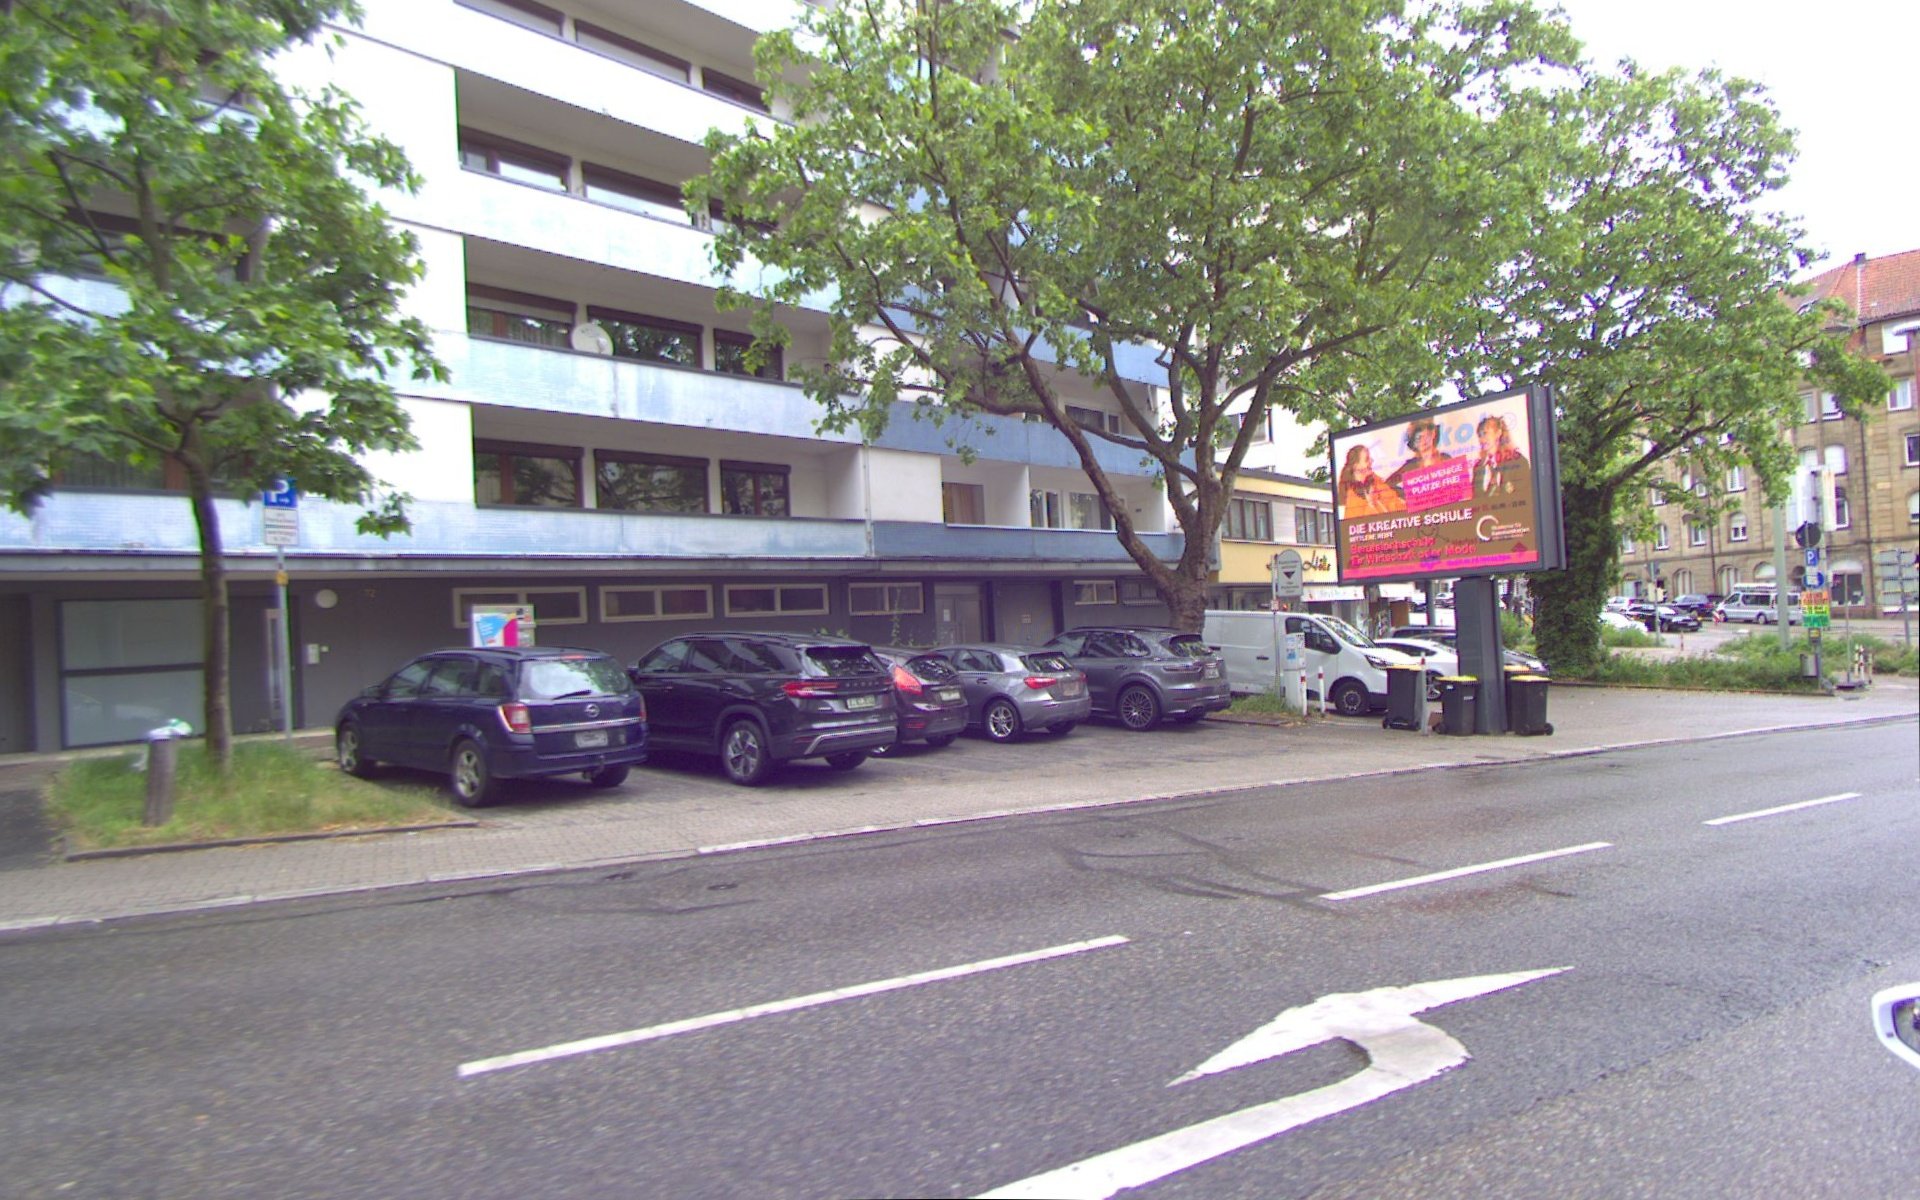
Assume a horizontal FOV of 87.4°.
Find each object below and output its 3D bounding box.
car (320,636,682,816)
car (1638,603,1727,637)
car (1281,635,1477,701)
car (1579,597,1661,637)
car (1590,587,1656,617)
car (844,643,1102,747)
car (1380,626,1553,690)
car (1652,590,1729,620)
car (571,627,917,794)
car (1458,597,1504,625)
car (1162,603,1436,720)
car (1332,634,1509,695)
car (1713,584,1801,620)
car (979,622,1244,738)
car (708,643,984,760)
[{"bbox_3d":[-5.204,1.212,11.166,4.303,1.595,1.935,-1,-2,39],"label":"car"},{"bbox_3d":[39.941,1.080,55.676,1.960,1.749,4.250,-1,0,2],"label":"car"},{"bbox_3d":[10.222,1.608,24.663,4.122,1.475,1.786,-1,-2,40],"label":"car"},{"bbox_3d":[35.556,0.949,54.229,1.841,2.040,4.002,0,-2,2],"label":"car"},{"bbox_3d":[48.619,0.089,73.770,1.961,2.130,4.291,-1,1,-1],"label":"car"},{"bbox_3d":[0.159,1.431,16.160,3.870,1.449,1.742,-1,-2,36],"label":"car"},{"bbox_3d":[14.131,1.572,28.123,4.072,1.675,1.762,-1,-2,38],"label":"car"},{"bbox_3d":[48.443,0.283,66.755,1.961,1.863,4.291,-1,1,-1],"label":"car"},{"bbox_3d":[-2.742,1.190,12.291,4.312,1.694,1.847,-1,-2,39],"label":"car"},{"bbox_3d":[39.688,0.834,76.645,1.545,2.040,4.001,0,-1,2],"label":"car"},{"bbox_3d":[6.883,1.197,20.748,5.001,2.133,1.983,-1,-2,41],"label":"car"},{"bbox_3d":[12.121,1.645,26.560,3.926,1.469,1.761,-1,-2,40],"label":"car"},{"bbox_3d":[48.814,0.101,61.648,1.961,2.130,4.291,-1,1,-1],"label":"car"},{"bbox_3d":[2.600,1.309,17.795,4.305,1.807,1.930,-1,-2,40],"label":"car"},{"bbox_3d":[-1.731,1.374,14.691,3.929,1.449,1.692,-1,-2,36],"label":"car"}]
